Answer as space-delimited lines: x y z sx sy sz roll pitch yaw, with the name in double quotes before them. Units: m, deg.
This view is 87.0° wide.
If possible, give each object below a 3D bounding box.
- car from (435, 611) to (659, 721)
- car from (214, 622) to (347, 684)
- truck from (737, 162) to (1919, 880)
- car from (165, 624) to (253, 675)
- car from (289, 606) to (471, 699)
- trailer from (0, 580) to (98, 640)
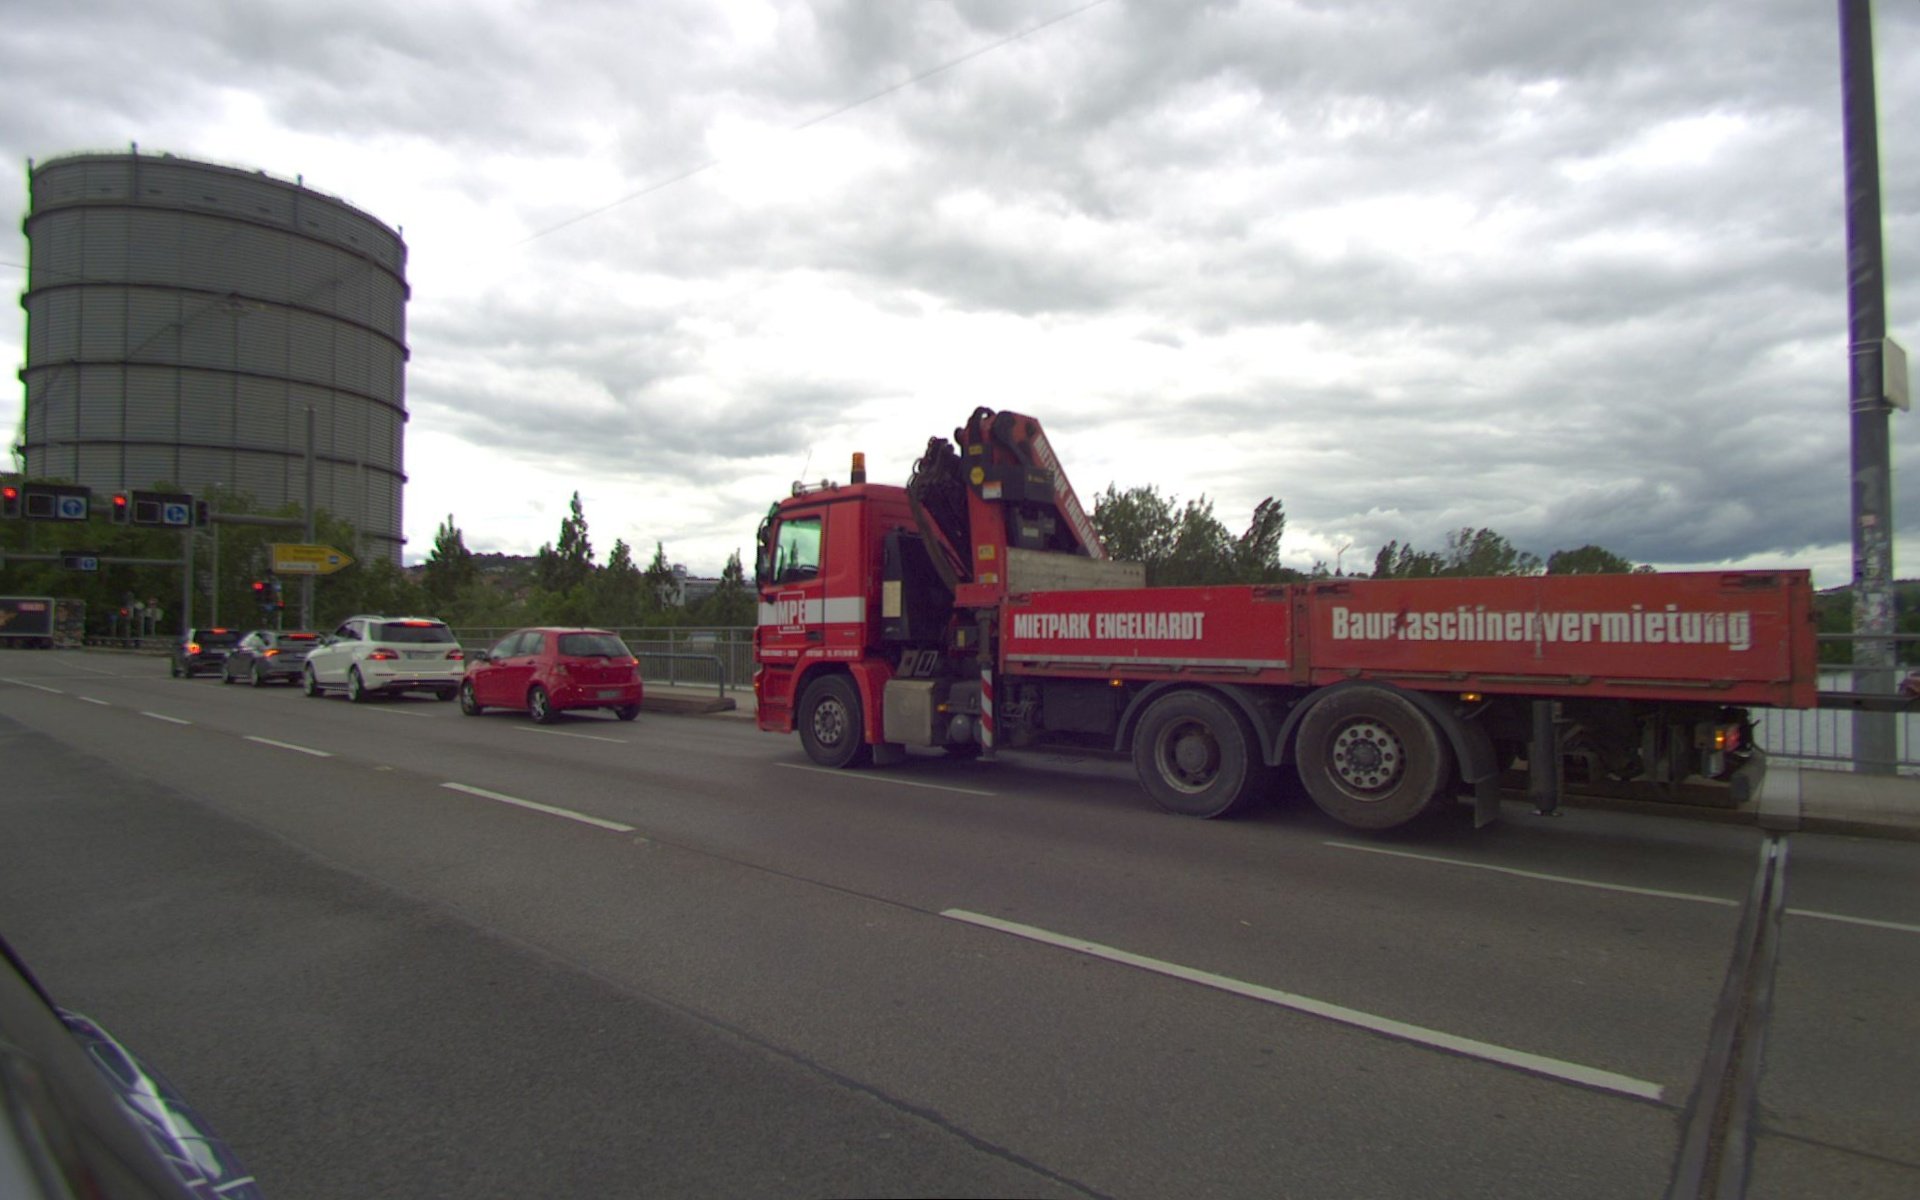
"car" -6.987 1.049 16.975 4.013 1.615 1.860 -2 -3 41
"car" -18.297 1.388 27.170 4.514 1.516 1.816 -2 -3 41
"truck" 2.231 -0.250 9.260 9.976 3.593 2.974 -2 -3 41
"car" -24.104 1.566 32.440 1.814 1.516 3.874 2 -3 -43
"car" -12.441 1.088 21.583 4.800 1.774 1.860 -2 -3 41
"trailer" -75.248 0.760 78.593 13.597 4.355 3.668 1 -4 2
